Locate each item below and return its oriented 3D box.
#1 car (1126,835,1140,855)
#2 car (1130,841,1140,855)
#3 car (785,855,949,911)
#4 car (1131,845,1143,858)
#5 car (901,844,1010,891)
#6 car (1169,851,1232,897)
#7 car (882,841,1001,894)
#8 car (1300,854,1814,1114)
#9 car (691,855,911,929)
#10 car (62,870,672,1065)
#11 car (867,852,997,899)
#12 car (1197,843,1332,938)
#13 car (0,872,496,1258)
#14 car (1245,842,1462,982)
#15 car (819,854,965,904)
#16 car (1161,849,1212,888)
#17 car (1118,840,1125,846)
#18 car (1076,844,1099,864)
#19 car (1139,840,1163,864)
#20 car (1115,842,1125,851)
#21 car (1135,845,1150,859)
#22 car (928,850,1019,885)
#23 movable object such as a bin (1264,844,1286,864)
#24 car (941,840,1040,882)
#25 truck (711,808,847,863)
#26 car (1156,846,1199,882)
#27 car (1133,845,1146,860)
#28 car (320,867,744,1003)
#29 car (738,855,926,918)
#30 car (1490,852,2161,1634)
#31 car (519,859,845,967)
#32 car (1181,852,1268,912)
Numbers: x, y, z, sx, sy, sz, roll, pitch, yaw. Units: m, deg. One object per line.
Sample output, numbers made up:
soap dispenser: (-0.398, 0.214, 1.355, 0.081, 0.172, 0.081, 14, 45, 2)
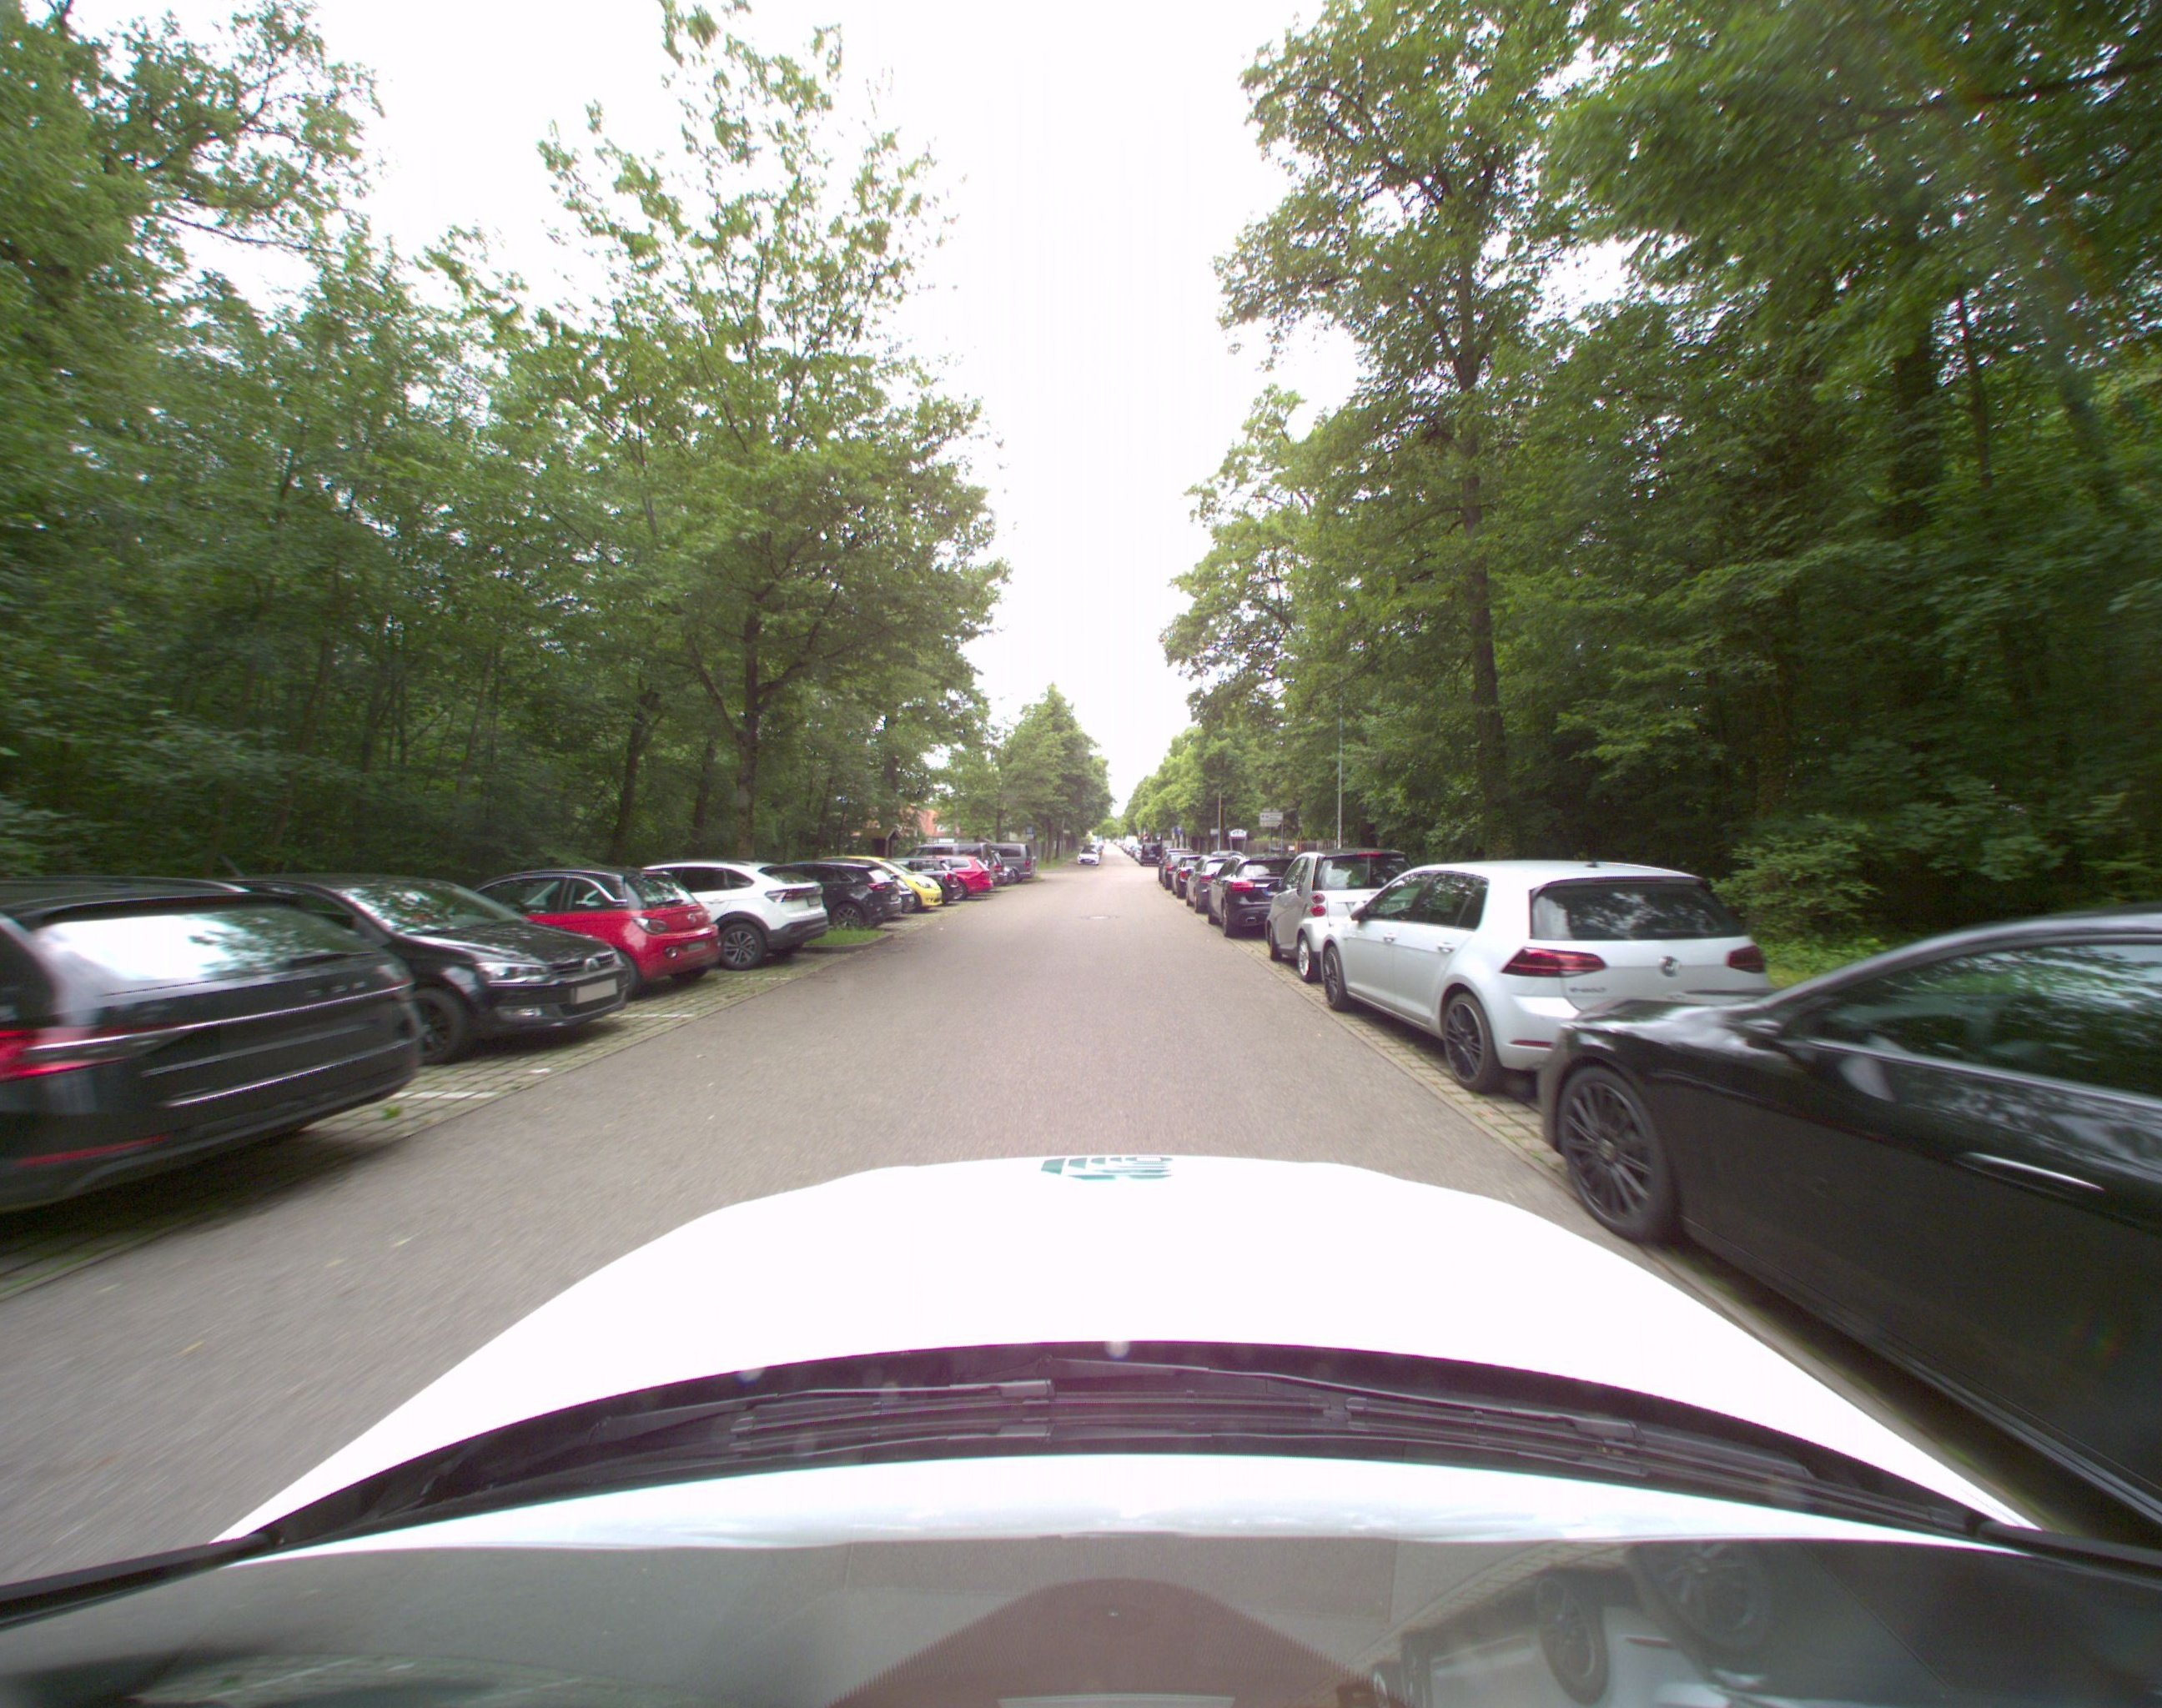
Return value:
car: (8.208, -1.442, 128.585, 2.175, 3.015, 4.901, 0, 1, 3)
car: (7.635, -0.812, 115.574, 1.463, 1.967, 3.192, 0, 1, 3)
car: (-5.733, 0.762, 22.104, 3.972, 1.438, 1.618, 0, 0, 1)
car: (6.796, -0.300, 98.946, 1.463, 1.531, 3.192, 0, 1, 3)
car: (-4.873, 0.491, 31.951, 3.974, 1.765, 1.824, 0, 0, 0)
car: (3.997, 0.626, 27.830, 1.729, 1.432, 4.505, 0, 0, 3)
car: (-4.992, 0.467, 29.515, 3.972, 1.862, 1.814, 0, 0, 1)
car: (3.245, 0.726, 6.660, 1.731, 1.425, 4.152, 0, 0, -1)
car: (-5.763, 0.756, 17.051, 3.972, 1.438, 1.716, 0, 0, 2)
car: (-6.011, 0.887, 7.168, 3.970, 1.435, 1.679, 0, 0, 3)
car: (-4.874, 0.701, 27.110, 3.974, 1.476, 1.779, 0, 0, 0)
car: (3.391, 0.597, 15.864, 1.730, 1.589, 4.383, 0, 0, 1)
car: (-5.501, 0.832, 4.079, 3.970, 1.435, 1.679, 0, 0, 3)
car: (3.463, 0.644, 11.157, 1.730, 1.568, 4.009, 0, 0, 1)
car: (-5.599, 0.729, 24.490, 3.975, 1.438, 1.671, 0, 0, -1)
car: (4.251, 0.532, 33.386, 1.729, 1.494, 4.237, 0, 0, 3)
car: (11.076, -3.034, 222.034, 1.889, 1.706, 4.070, 0, 0, 6)
car: (0.506, -0.022, 68.245, 1.759, 1.596, 4.215, 2, 1, 0)
car: (6.043, -0.185, 70.744, 1.980, 2.013, 4.112, 0, 1, 3)
car: (9.016, -1.796, 188.783, 1.984, 2.014, 4.006, 0, 0, 6)
car: (6.395, -0.222, 84.745, 1.463, 1.481, 3.192, 0, 1, 3)
car: (-4.878, 0.593, 37.201, 3.797, 1.512, 1.811, -1, 1, 4)
movable object such as a bin: (14.522, -0.013, 60.891, 1.293, 1.442, 1.066, 0, -1, -42)
car: (-4.311, 0.335, 39.322, 4.487, 1.978, 1.891, 0, -1, 0)
truck: (-18.383, -1.111, 50.017, 7.245, 3.236, 3.430, 0, -1, -9)
car: (4.573, 0.450, 39.136, 1.729, 1.633, 4.378, 0, 0, 3)
car: (6.470, -0.176, 90.262, 1.463, 1.531, 3.192, 0, 1, 3)
car: (-6.394, 0.890, 9.773, 3.970, 1.435, 1.704, 0, 0, 3)
car: (-5.954, 0.750, 19.786, 3.972, 1.438, 1.734, 0, 0, 2)
car: (2.925, 0.742, 1.865, 1.730, 1.474, 4.606, 0, 0, 1)
car: (-5.769, 0.826, 12.116, 3.972, 1.467, 1.715, 0, 0, 1)
car: (3.713, 0.672, 21.772, 1.729, 1.432, 4.505, 0, 0, 3)
